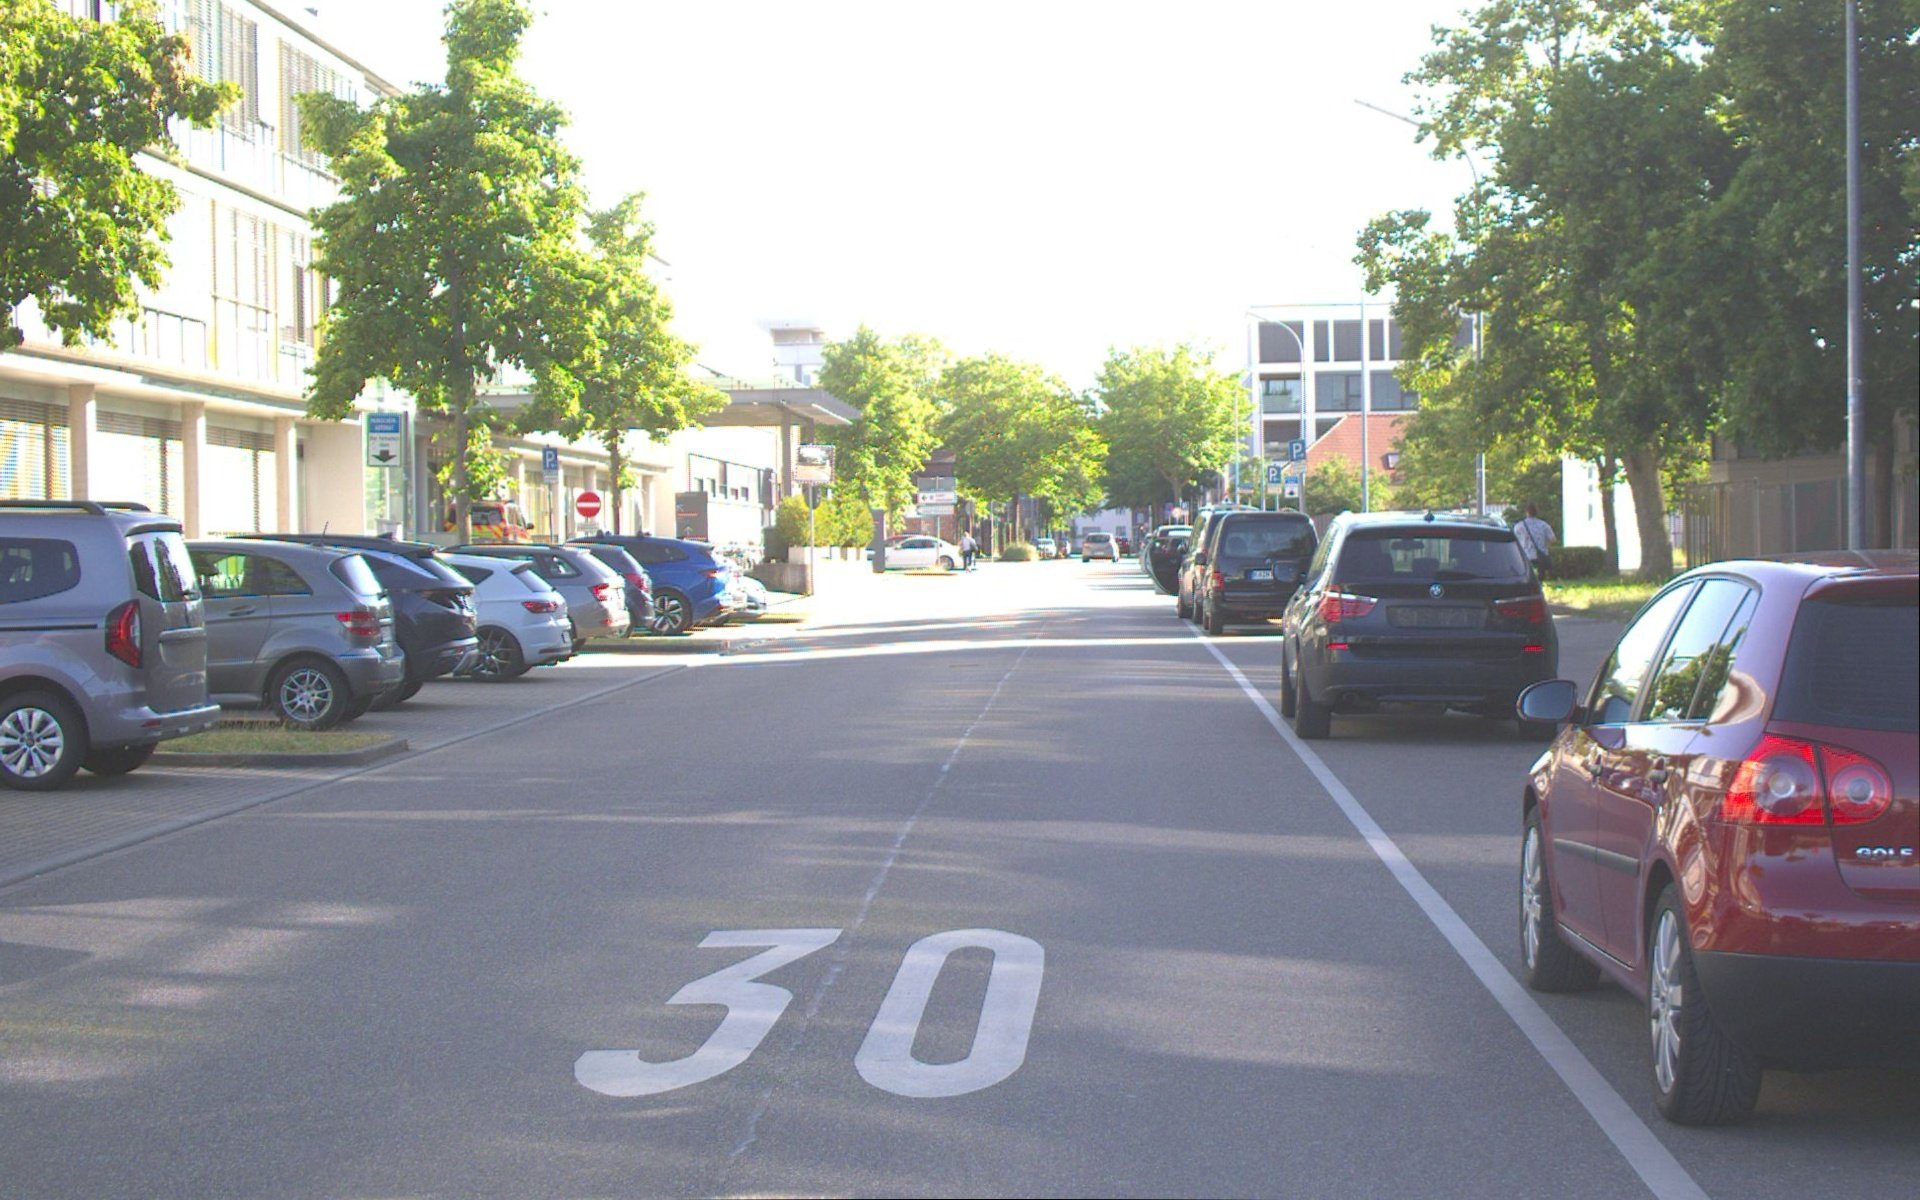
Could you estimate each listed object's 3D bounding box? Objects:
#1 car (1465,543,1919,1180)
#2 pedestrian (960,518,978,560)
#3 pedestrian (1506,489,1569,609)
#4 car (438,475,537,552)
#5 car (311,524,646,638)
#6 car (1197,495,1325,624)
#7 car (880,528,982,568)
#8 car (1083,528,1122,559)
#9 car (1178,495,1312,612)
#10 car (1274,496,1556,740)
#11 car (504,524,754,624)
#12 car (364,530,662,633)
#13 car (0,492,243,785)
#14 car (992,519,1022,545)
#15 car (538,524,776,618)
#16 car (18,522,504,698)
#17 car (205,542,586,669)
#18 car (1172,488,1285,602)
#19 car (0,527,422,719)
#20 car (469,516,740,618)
[{"bbox_3d":[2.642,0.570,10.284,1.720,1.450,4.652,0,1,2],"label":"car"},{"bbox_3d":[0.362,-2.379,134.929,0.618,1.618,0.716,-2,1,2],"label":"pedestrian"},{"bbox_3d":[8.225,-0.729,48.959,0.698,1.655,0.752,-4,1,2],"label":"pedestrian"},{"bbox_3d":[-13.009,-2.354,94.858,1.994,2.007,4.000,-1,0,2],"label":"car"},{"bbox_3d":[-6.358,-0.267,45.713,4.213,1.457,1.872,0,1,-1],"label":"car"},{"bbox_3d":[4.451,-0.623,51.230,1.733,1.824,3.905,-1,1,3],"label":"car"},{"bbox_3d":[-1.173,-2.098,139.152,3.987,1.514,2.000,-1,0,3],"label":"car"},{"bbox_3d":[7.182,-2.866,173.070,1.744,1.538,3.999,0,1,6],"label":"car"},{"bbox_3d":[4.718,-0.800,57.463,1.994,1.816,4.198,-2,1,2],"label":"car"},{"bbox_3d":[3.386,0.057,26.300,1.812,1.660,4.592,0,2,4],"label":"car"},{"bbox_3d":[-5.554,-0.448,58.120,3.987,1.546,2.000,-2,1,0],"label":"car"},{"bbox_3d":[-6.605,-0.285,51.143,4.213,1.481,1.872,0,1,-1],"label":"car"},{"bbox_3d":[-7.371,0.205,22.977,4.743,1.858,1.827,0,1,3],"label":"car"},{"bbox_3d":[2.801,-4.058,205.412,1.727,1.531,4.000,-1,1,1],"label":"car"},{"bbox_3d":[-5.305,-0.524,60.619,3.987,1.546,2.000,-1,2,0],"label":"car"},{"bbox_3d":[-6.617,0.069,32.899,4.246,1.606,2.048,0,1,-1],"label":"car"},{"bbox_3d":[-6.251,0.050,38.371,3.987,1.354,1.743,0,1,-1],"label":"car"},{"bbox_3d":[4.942,-1.037,63.704,1.875,1.971,4.000,-2,1,2],"label":"car"},{"bbox_3d":[-6.820,0.173,29.953,3.987,1.601,1.872,0,1,-1],"label":"car"},{"bbox_3d":[-5.719,-0.543,55.688,4.213,1.597,1.872,0,1,-1],"label":"car"}]
